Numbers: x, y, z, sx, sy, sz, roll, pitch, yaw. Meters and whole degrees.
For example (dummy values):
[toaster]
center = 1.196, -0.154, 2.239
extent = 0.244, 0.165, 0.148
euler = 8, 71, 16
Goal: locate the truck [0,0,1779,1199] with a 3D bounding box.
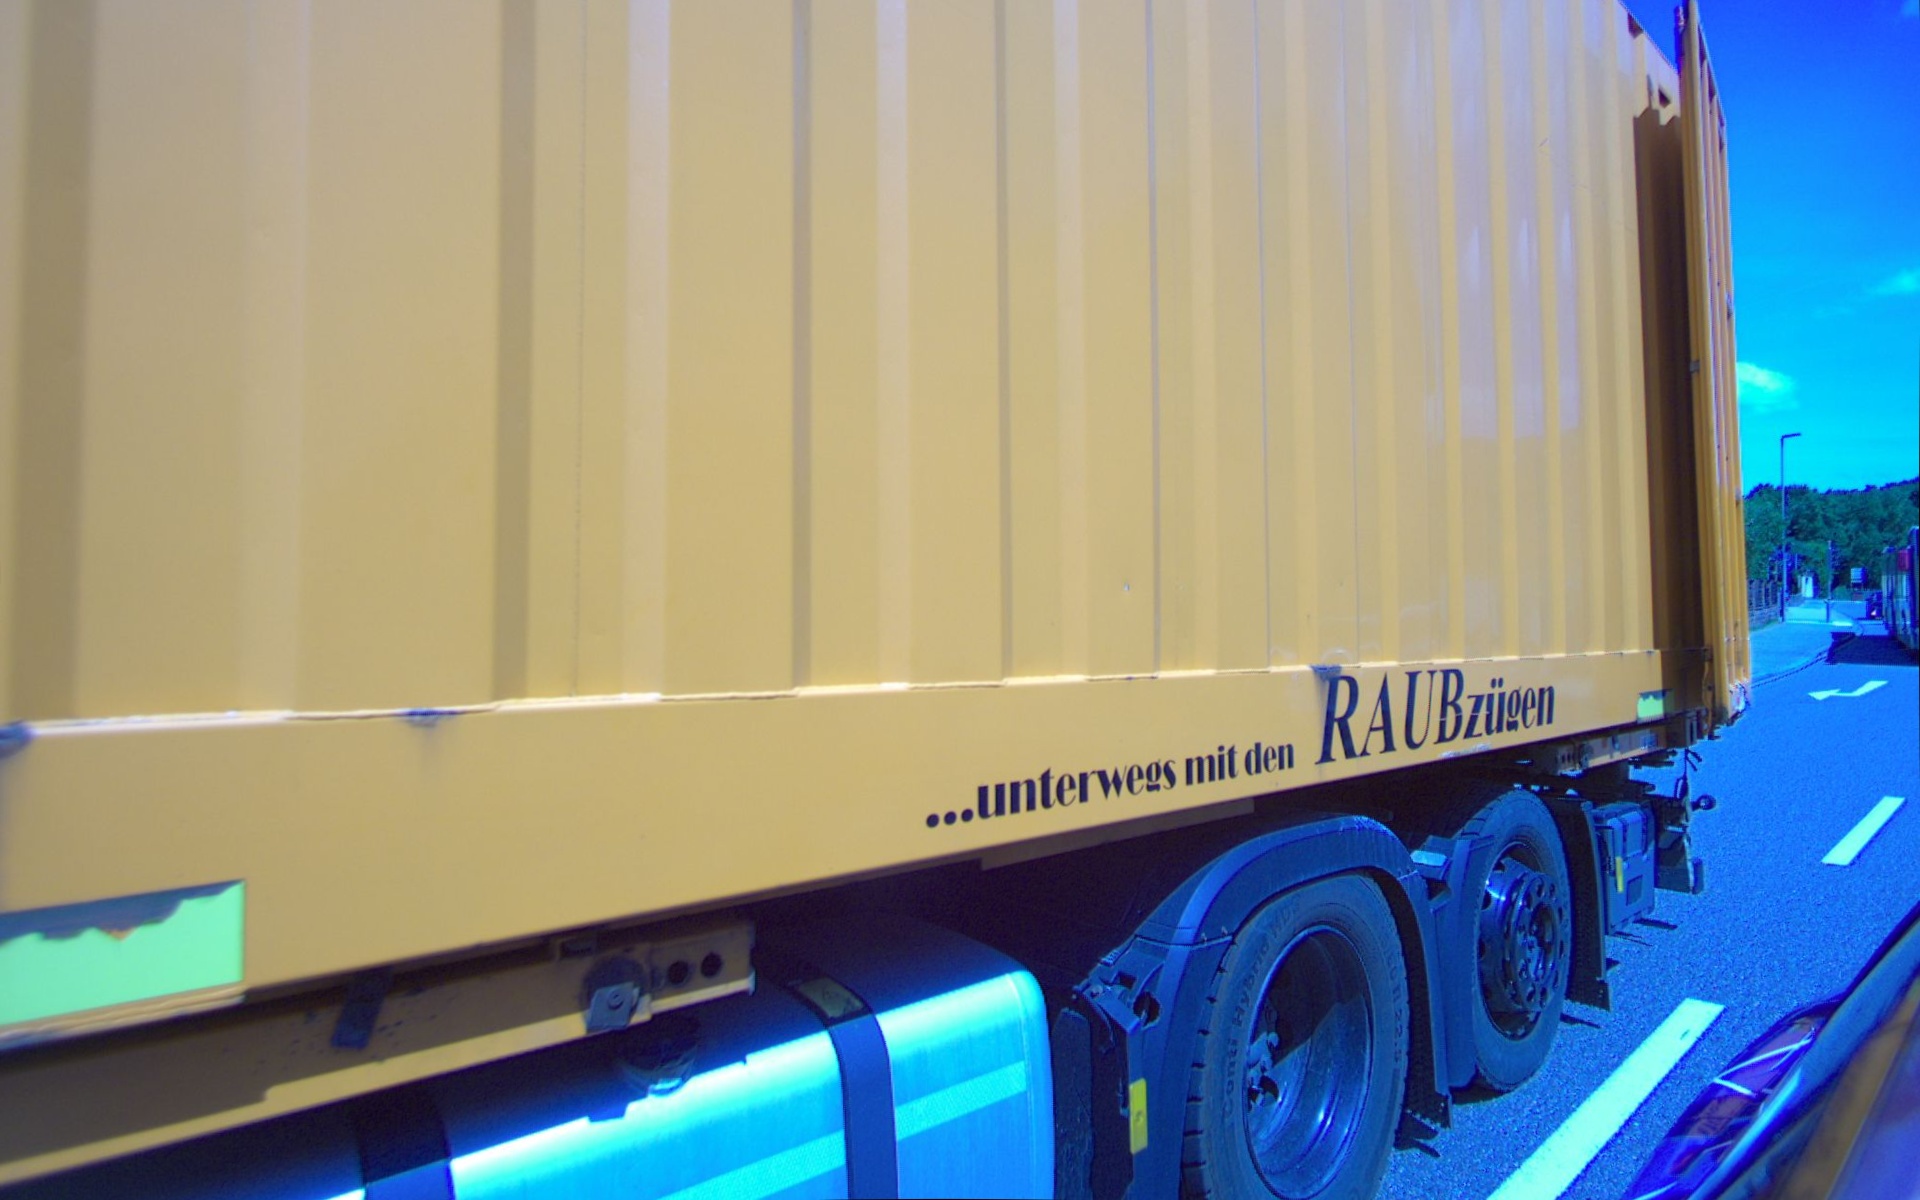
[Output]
[truck]
center = -0.787, -0.597, 2.600
extent = 9.814, 3.996, 2.613
euler = 0, -1, -40

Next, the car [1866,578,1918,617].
[car]
center = 46.082, -0.165, 50.094
extent = 1.782, 1.852, 4.286
euler = 2, 2, 42

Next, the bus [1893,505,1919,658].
[bus]
center = 27.462, -0.520, 27.529
extent = 2.850, 3.245, 18.743
euler = 0, 1, 42
